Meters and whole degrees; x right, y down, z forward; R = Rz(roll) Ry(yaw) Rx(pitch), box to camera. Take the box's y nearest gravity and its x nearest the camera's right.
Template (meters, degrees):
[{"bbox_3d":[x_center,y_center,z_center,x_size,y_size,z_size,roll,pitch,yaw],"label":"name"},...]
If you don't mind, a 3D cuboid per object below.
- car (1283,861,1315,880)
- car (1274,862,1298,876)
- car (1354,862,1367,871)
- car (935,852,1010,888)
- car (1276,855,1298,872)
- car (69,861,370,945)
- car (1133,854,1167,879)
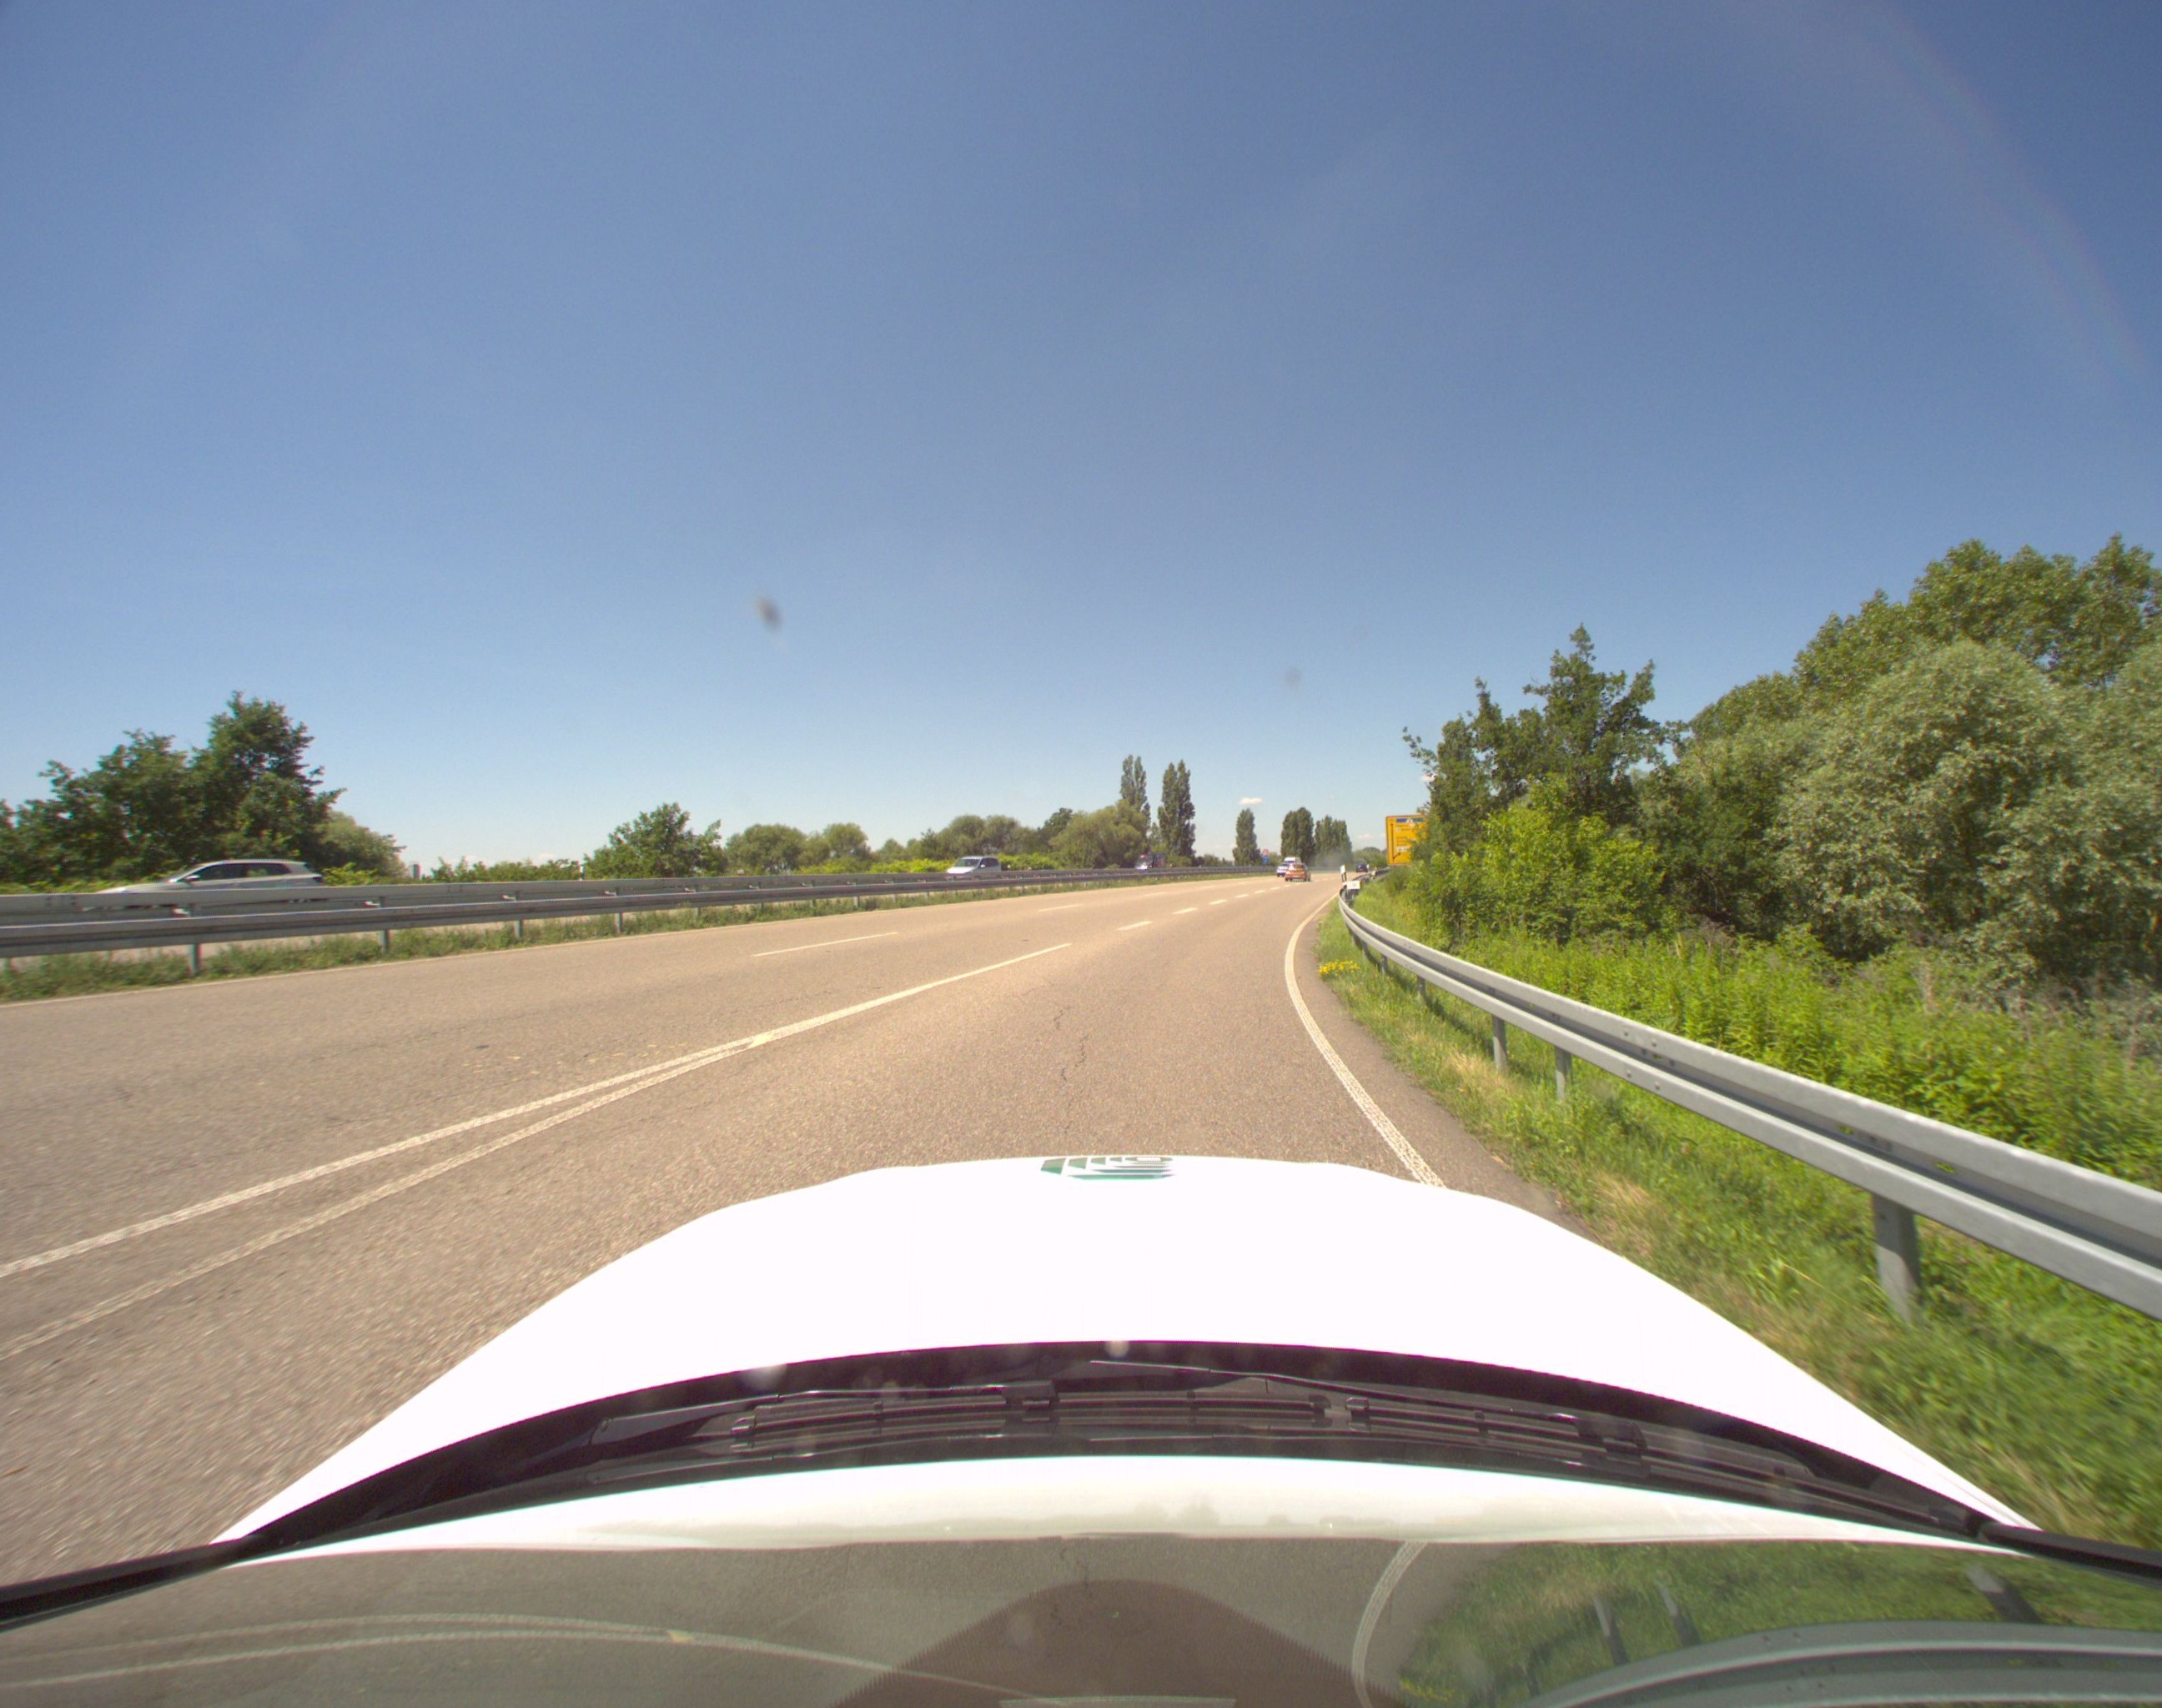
[{"bbox_3d":[17.703,1.330,66.066,1.825,1.464,4.022,0,0,24],"label":"car"},{"bbox_3d":[21.785,1.602,86.493,1.825,1.451,4.022,0,0,24],"label":"car"},{"bbox_3d":[49.029,2.120,142.776,1.926,1.464,4.022,0,0,24],"label":"car"},{"bbox_3d":[-6.080,0.945,46.194,2.185,1.893,4.936,-1,-2,20],"label":"car"},{"bbox_3d":[35.457,1.732,140.048,2.258,2.774,7.262,-1,-2,25],"label":"car"},{"bbox_3d":[-22.030,1.192,21.119,2.183,1.893,4.942,-1,-2,30],"label":"car"},{"bbox_3d":[7.595,1.443,88.760,2.185,2.638,5.654,-1,-2,21],"label":"car"}]
